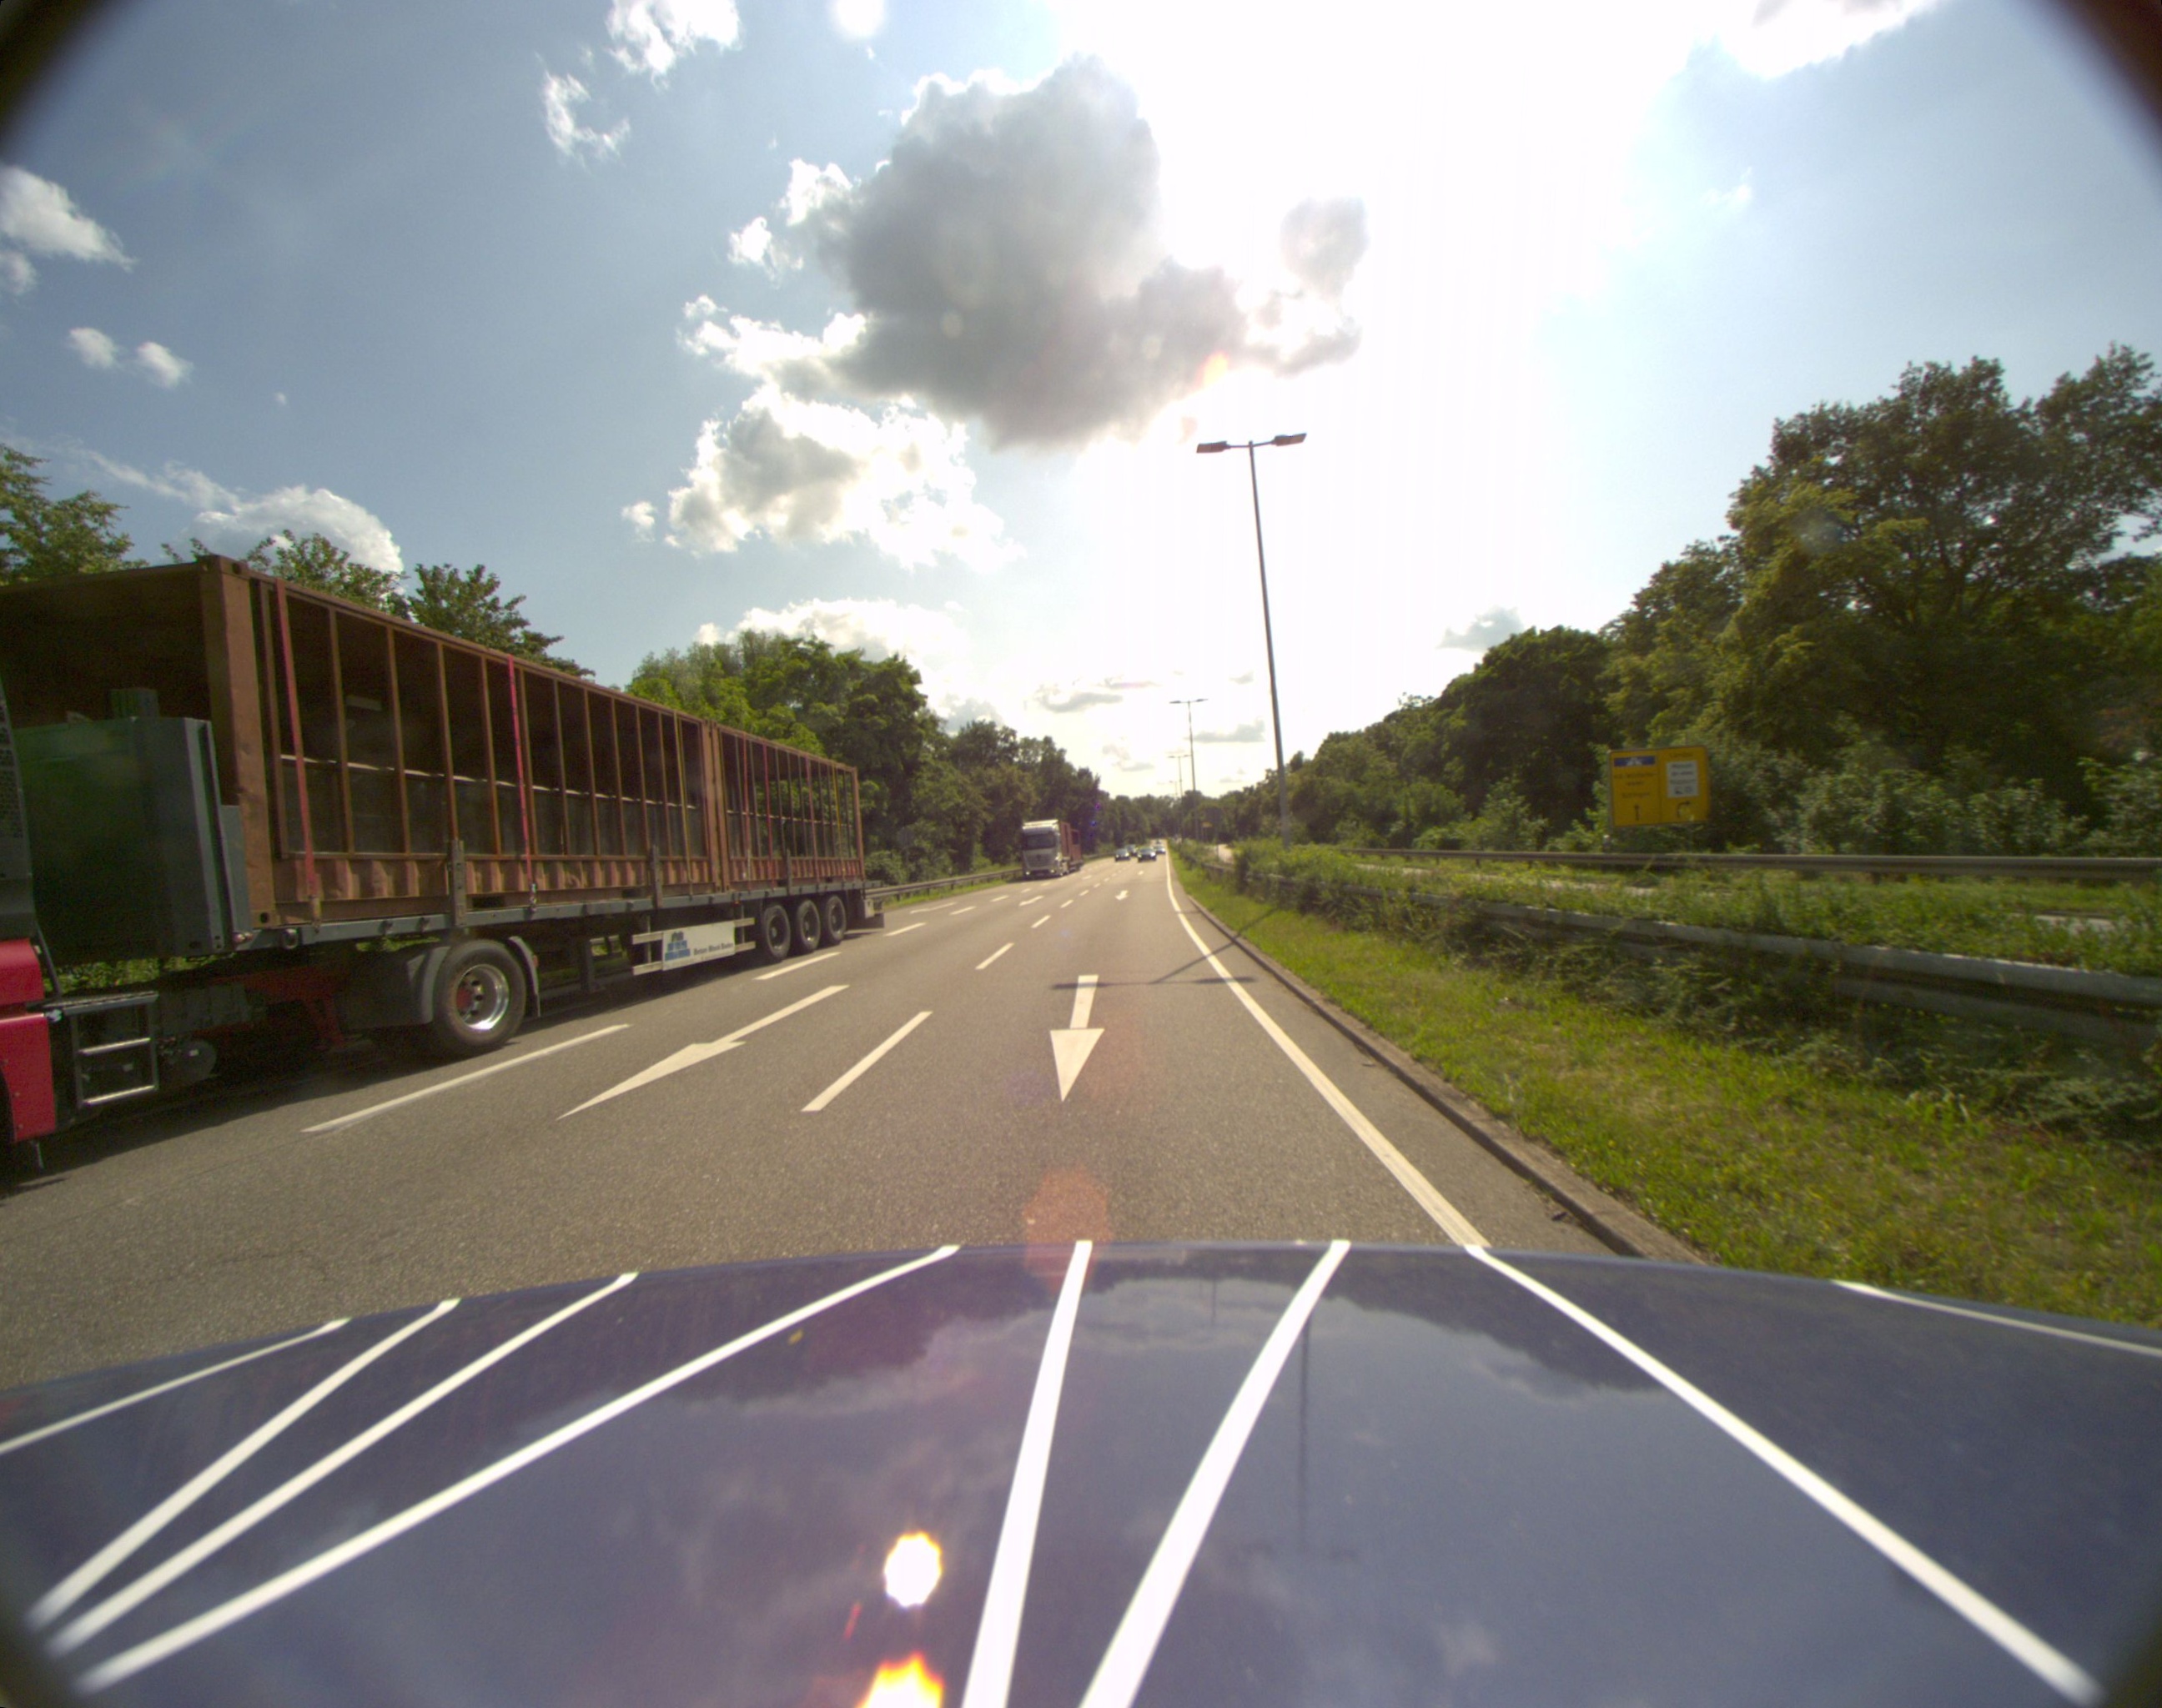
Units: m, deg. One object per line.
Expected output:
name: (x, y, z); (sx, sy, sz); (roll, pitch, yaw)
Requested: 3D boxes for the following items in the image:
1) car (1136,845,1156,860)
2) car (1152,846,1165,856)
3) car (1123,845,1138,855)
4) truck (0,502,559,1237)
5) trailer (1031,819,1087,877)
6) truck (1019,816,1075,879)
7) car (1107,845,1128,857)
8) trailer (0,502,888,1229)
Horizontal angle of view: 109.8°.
car: (6.619, -0.161, 76.649); (1.796, 1.368, 4.002); (-3, 0, 7)
car: (11.284, -0.418, 110.785); (1.796, 1.368, 4.002); (-3, 0, 7)
car: (7.086, -0.560, 109.140); (1.998, 1.330, 4.001); (-3, 0, 5)
truck: (-6.931, 0.136, 4.761); (2.591, 3.871, 6.062); (-5, 0, 3)
trailer: (-1.575, -0.469, 61.439); (2.694, 3.948, 12.396); (-5, 0, 6)
truck: (-2.272, -0.443, 54.397); (2.690, 3.948, 7.386); (-5, 0, 6)
car: (4.420, -0.344, 91.630); (1.997, 1.330, 4.002); (-3, 0, 8)
trailer: (-6.554, 0.122, 11.292); (2.591, 3.871, 14.504); (-5, 0, 3)
